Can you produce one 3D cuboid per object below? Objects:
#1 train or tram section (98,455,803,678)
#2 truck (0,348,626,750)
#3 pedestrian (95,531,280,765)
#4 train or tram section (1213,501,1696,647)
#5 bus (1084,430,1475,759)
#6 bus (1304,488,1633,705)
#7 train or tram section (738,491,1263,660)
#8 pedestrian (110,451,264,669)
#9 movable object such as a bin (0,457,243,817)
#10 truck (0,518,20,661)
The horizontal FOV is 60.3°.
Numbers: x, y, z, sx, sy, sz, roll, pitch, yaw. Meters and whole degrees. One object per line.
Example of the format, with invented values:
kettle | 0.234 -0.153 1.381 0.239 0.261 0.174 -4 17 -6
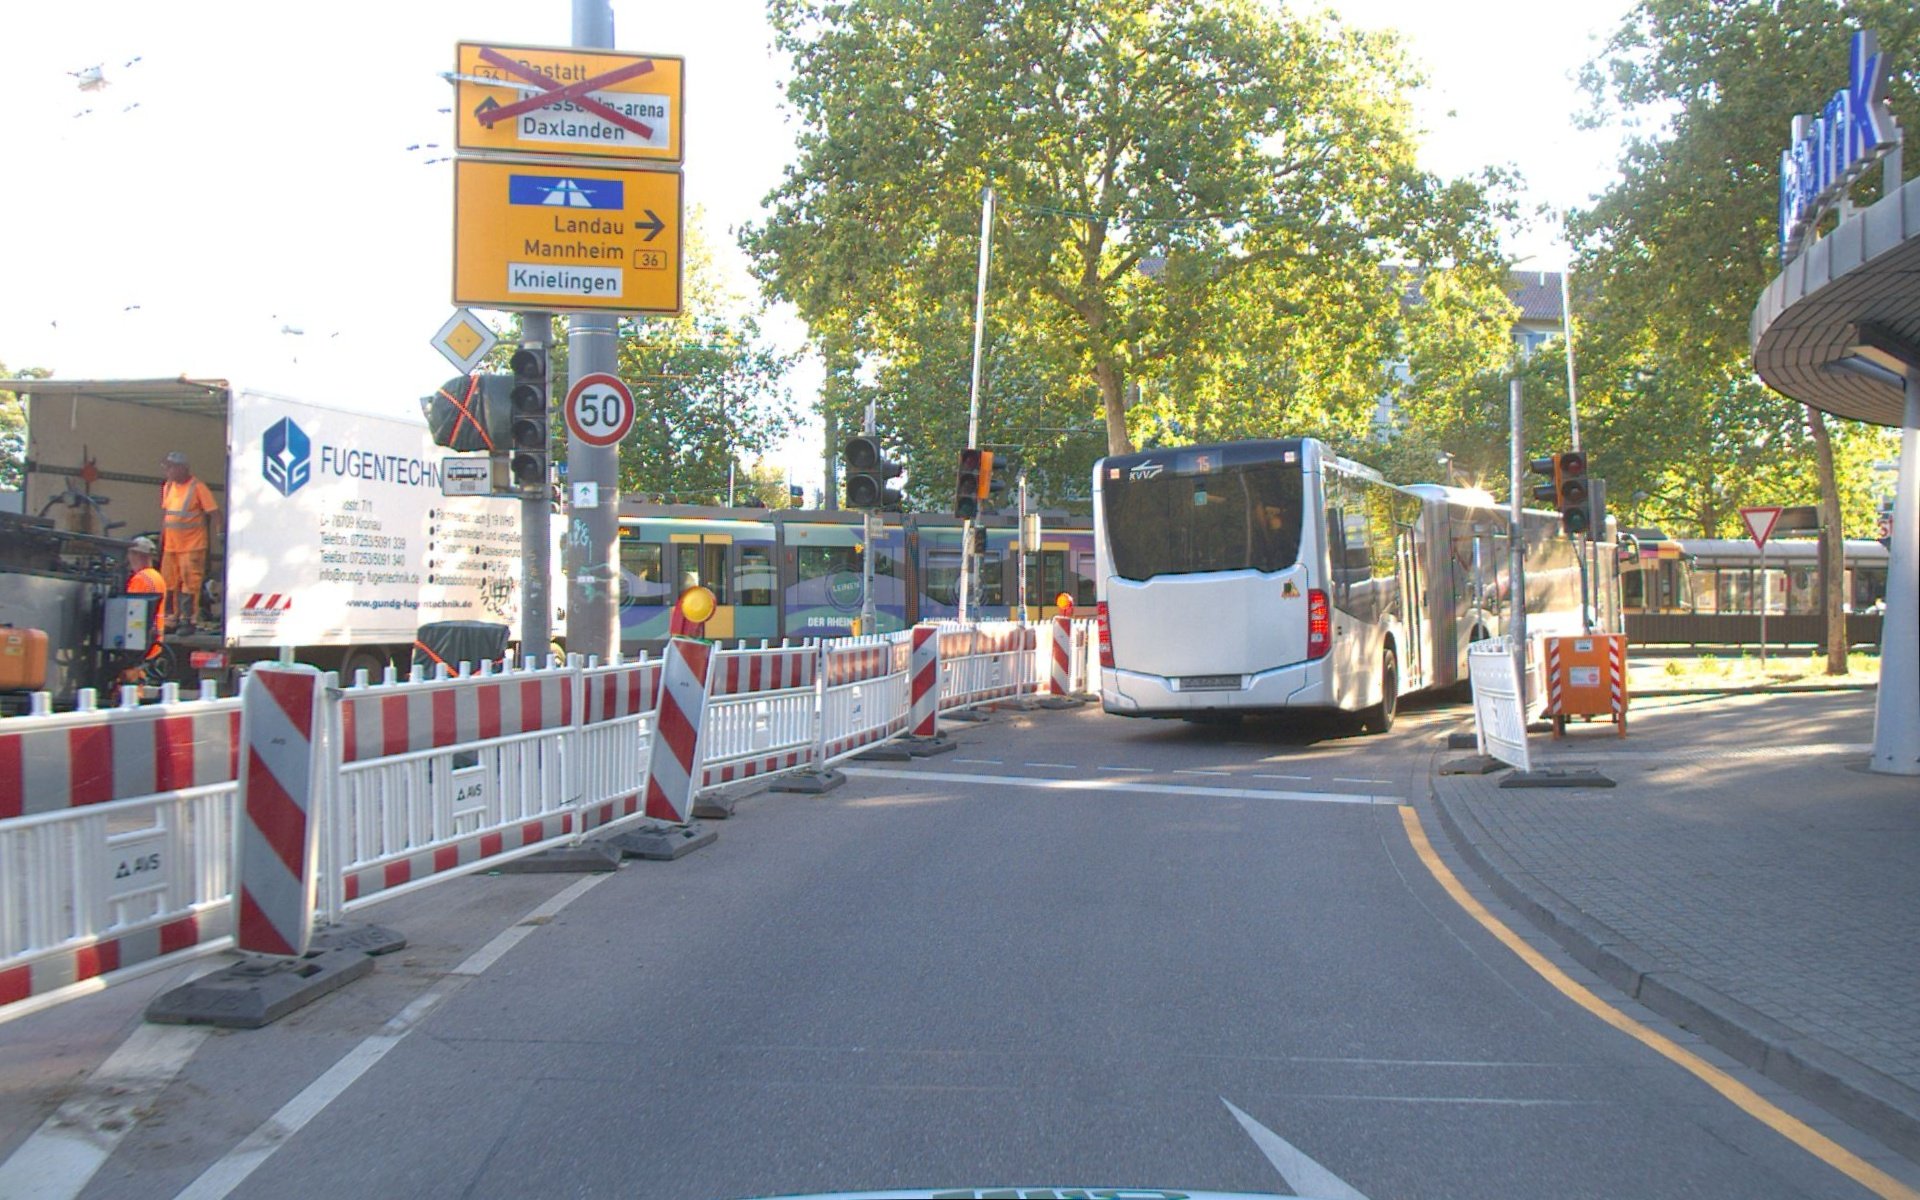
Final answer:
train or tram section | -9.151 -0.517 32.173 13.287 3.595 2.814 0 0 -43
truck | -7.314 -0.497 19.546 2.752 3.603 8.989 0 0 16
pedestrian | -6.294 0.367 13.529 0.952 1.829 1.070 0 0 6
train or tram section | 13.180 -0.622 43.681 13.082 3.581 2.636 0 0 -18
bus | 4.672 -0.121 21.511 2.678 3.193 10.699 0 1 24
bus | 9.034 -0.113 28.473 2.663 3.161 8.945 0 1 36
train or tram section | 1.177 -0.512 39.145 12.579 3.611 2.716 0 0 -25
pedestrian | -7.548 -0.393 16.184 0.916 2.048 1.002 0 2 14
movable object such as a bin | -7.156 0.219 10.441 1.951 2.296 5.211 1 1 16
truck | -29.080 -0.262 40.888 2.834 3.856 10.424 0 0 26
